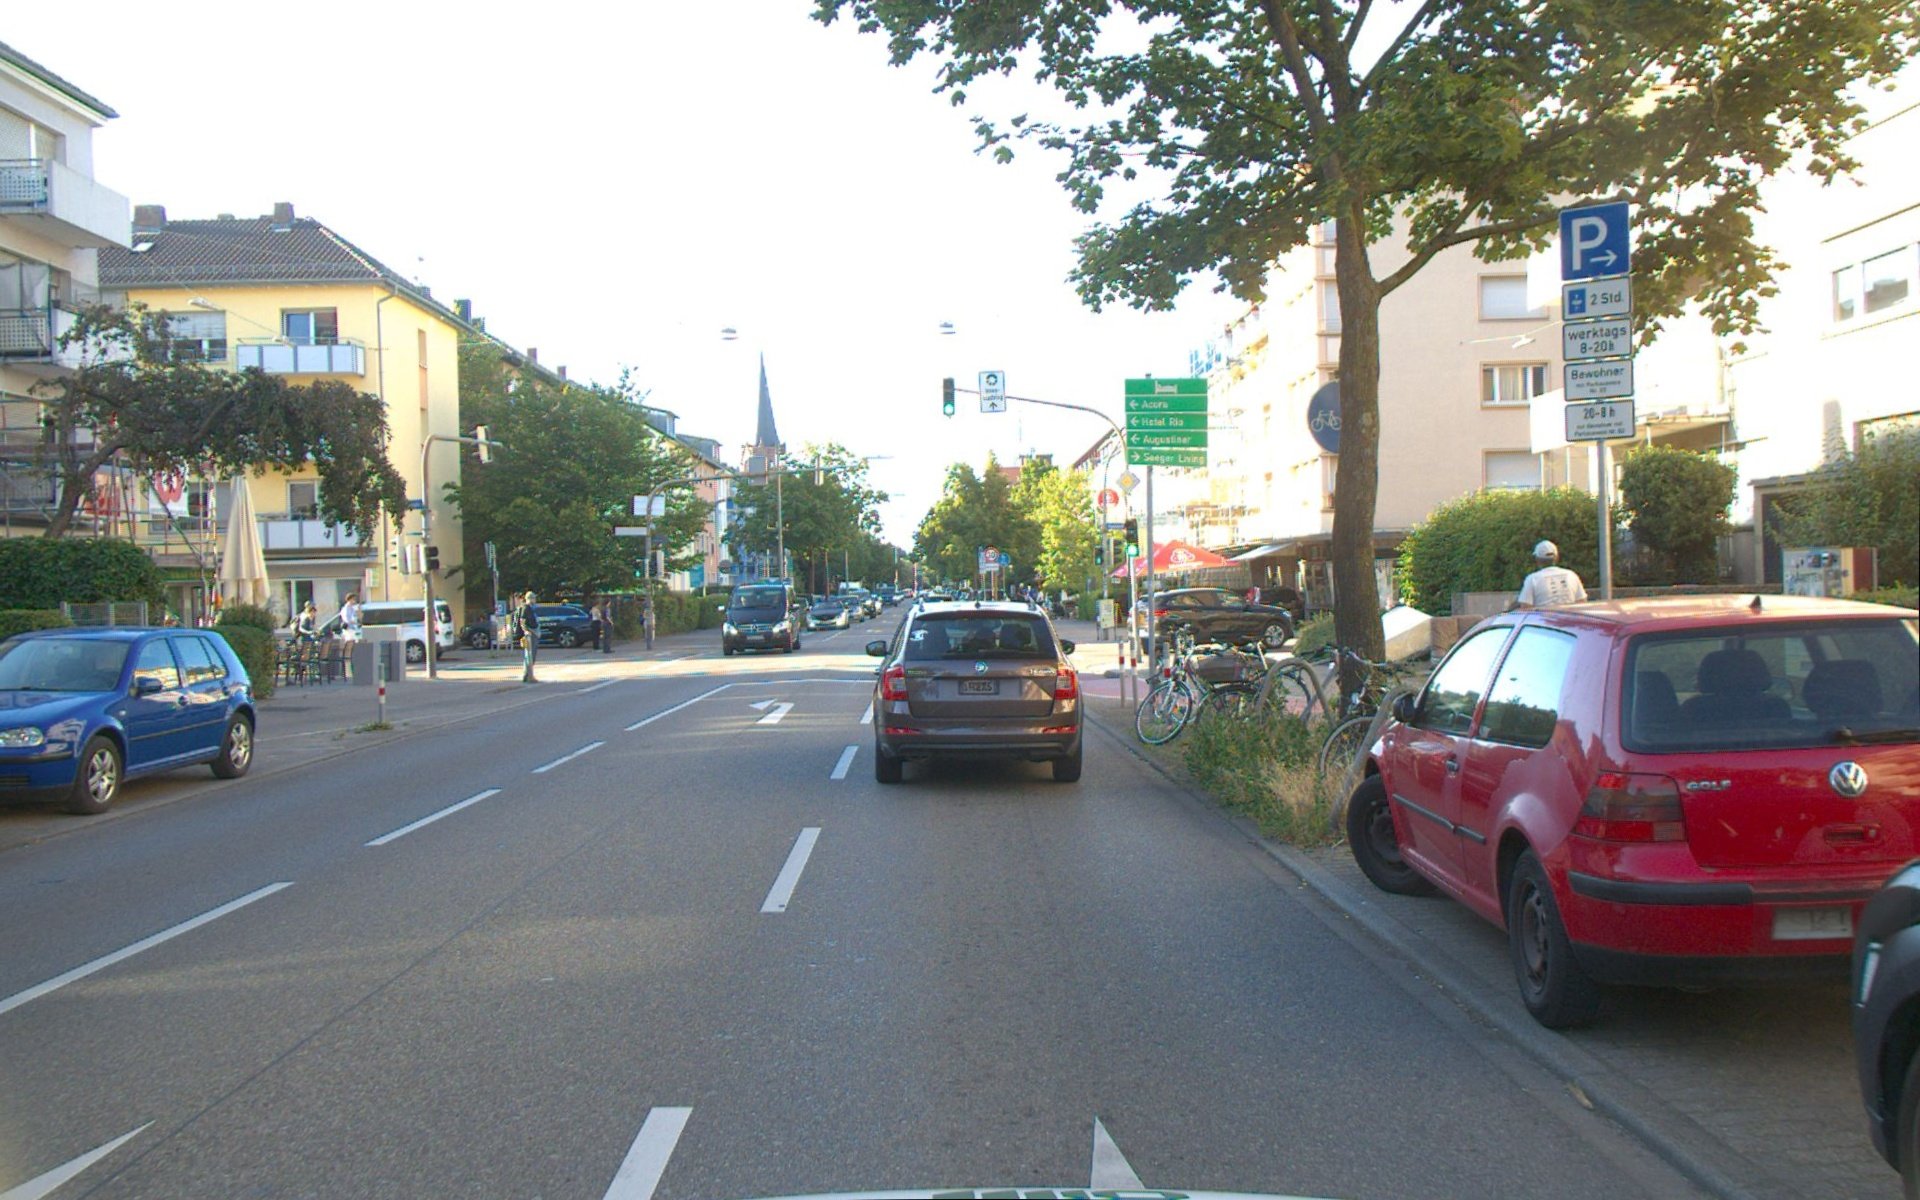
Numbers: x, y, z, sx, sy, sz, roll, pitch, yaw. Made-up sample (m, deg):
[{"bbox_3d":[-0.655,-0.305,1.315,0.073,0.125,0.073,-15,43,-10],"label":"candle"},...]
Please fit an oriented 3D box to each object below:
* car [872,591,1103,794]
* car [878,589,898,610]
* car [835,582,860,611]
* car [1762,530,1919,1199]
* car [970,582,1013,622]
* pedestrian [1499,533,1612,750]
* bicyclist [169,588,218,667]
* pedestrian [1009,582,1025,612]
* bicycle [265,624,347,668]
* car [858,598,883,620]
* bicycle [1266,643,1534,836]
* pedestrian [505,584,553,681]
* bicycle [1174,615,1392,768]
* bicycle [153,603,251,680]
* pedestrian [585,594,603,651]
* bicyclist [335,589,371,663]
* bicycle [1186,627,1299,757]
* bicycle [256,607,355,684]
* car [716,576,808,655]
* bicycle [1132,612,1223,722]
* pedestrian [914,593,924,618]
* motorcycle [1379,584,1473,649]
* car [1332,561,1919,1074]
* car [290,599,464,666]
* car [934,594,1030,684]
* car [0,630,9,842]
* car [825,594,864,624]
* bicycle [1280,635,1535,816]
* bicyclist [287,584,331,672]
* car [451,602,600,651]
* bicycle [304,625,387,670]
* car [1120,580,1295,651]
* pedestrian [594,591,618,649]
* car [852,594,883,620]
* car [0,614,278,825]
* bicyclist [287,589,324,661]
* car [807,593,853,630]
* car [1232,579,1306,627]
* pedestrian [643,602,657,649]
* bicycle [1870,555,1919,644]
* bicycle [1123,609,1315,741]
[{"bbox_3d":[0.152,0.686,14.609,1.737,1.515,4.309,0,0,-2],"label":"car"},{"bbox_3d":[-7.350,-0.073,169.223,1.953,2.049,3.999,-2,0,-1],"label":"car"},{"bbox_3d":[-10.087,-0.276,148.670,1.953,2.521,3.999,-1,0,-1],"label":"car"},{"bbox_3d":[2.889,0.617,1.924,1.818,1.609,4.012,-3,0,-2],"label":"car"},{"bbox_3d":[1.488,0.076,76.596,1.952,1.803,4.001,0,0,2],"label":"car"},{"bbox_3d":[5.085,0.346,14.156,0.648,1.779,0.773,-3,0,5],"label":"pedestrian"},{"bbox_3d":[-17.928,0.637,38.693,0.770,1.830,0.709,-1,0,-3],"label":"bicyclist"},{"bbox_3d":[3.407,-0.186,98.512,0.661,1.734,0.800,-2,0,25],"label":"pedestrian"},{"bbox_3d":[-17.161,1.205,43.400,1.865,1.090,0.717,-2,0,-11],"label":"bicycle"},{"bbox_3d":[-6.668,0.675,123.341,1.669,1.577,4.001,-2,0,-1],"label":"car"},{"bbox_3d":[2.723,0.857,10.294,1.538,1.123,0.391,-1,0,0],"label":"bicycle"},{"bbox_3d":[-9.188,0.681,35.287,0.764,2.022,0.821,-2,0,-1],"label":"pedestrian"},{"bbox_3d":[2.641,0.746,13.636,1.651,1.126,0.517,-4,0,5],"label":"bicycle"},{"bbox_3d":[-17.732,0.962,38.709,1.881,1.736,0.756,-2,0,-4],"label":"bicycle"},{"bbox_3d":[-11.823,0.720,53.436,0.440,1.828,0.504,-2,0,-1],"label":"pedestrian"},{"bbox_3d":[-15.629,0.668,42.605,0.725,1.855,0.652,-2,0,-10],"label":"bicyclist"},{"bbox_3d":[2.593,0.811,15.061,0.606,1.069,1.573,-1,0,25],"label":"bicycle"},{"bbox_3d":[-15.454,1.060,39.078,1.982,1.736,0.756,-2,0,-4],"label":"bicycle"},{"bbox_3d":[-5.408,0.406,45.787,1.953,1.941,4.962,-3,0,-2],"label":"car"},{"bbox_3d":[2.474,0.739,19.012,0.492,1.167,1.956,-4,0,-7],"label":"bicycle"},{"bbox_3d":[-2.759,0.370,112.317,0.632,1.675,0.804,-2,0,-1],"label":"pedestrian"},{"bbox_3d":[10.394,0.373,36.937,1.874,1.385,0.694,-2,0,3],"label":"motorcycle"},{"bbox_3d":[2.850,0.631,6.961,1.668,1.475,4.014,-3,0,1],"label":"car"},{"bbox_3d":[-17.507,0.953,49.849,4.540,1.843,1.861,-2,0,-2],"label":"car"},{"bbox_3d":[0.383,0.692,31.513,1.701,1.598,4.000,0,0,0],"label":"car"},{"bbox_3d":[-7.508,0.953,9.813,1.561,1.496,3.802,1,0,-1],"label":"car"},{"bbox_3d":[-6.506,0.487,93.468,1.953,1.639,4.000,-2,0,0],"label":"car"},{"bbox_3d":[2.957,0.822,10.997,1.538,1.123,0.501,-1,0,0],"label":"bicycle"},{"bbox_3d":[-15.404,0.649,39.147,0.711,2.049,0.843,-1,0,-4],"label":"bicyclist"},{"bbox_3d":[-14.643,0.878,55.914,4.540,1.562,1.861,0,0,-2],"label":"car"},{"bbox_3d":[-15.809,1.218,42.574,1.865,1.090,0.717,-2,0,-11],"label":"bicycle"},{"bbox_3d":[6.092,0.365,40.713,3.939,1.579,1.790,-2,0,-27],"label":"car"},{"bbox_3d":[-11.336,0.645,52.993,0.603,1.828,0.504,-2,0,-1],"label":"pedestrian"},{"bbox_3d":[-5.944,0.434,106.661,1.751,1.598,4.000,0,0,0],"label":"car"},{"bbox_3d":[-7.595,0.921,14.474,1.615,1.544,4.073,0,0,-1],"label":"car"},{"bbox_3d":[-17.174,0.653,43.406,0.725,1.855,0.652,-2,0,-10],"label":"bicyclist"},{"bbox_3d":[-5.927,0.494,75.725,1.793,1.607,3.999,-2,0,-1],"label":"car"},{"bbox_3d":[10.527,0.096,56.530,1.740,1.512,4.000,-2,0,0],"label":"car"},{"bbox_3d":[-10.178,0.844,54.305,0.294,1.530,0.640,-1,0,0],"label":"pedestrian"},{"bbox_3d":[13.132,-0.010,22.616,0.348,1.203,1.796,-1,0,0],"label":"bicycle"},{"bbox_3d":[2.577,0.741,16.595,1.796,1.177,0.683,-4,0,5],"label":"bicycle"}]
